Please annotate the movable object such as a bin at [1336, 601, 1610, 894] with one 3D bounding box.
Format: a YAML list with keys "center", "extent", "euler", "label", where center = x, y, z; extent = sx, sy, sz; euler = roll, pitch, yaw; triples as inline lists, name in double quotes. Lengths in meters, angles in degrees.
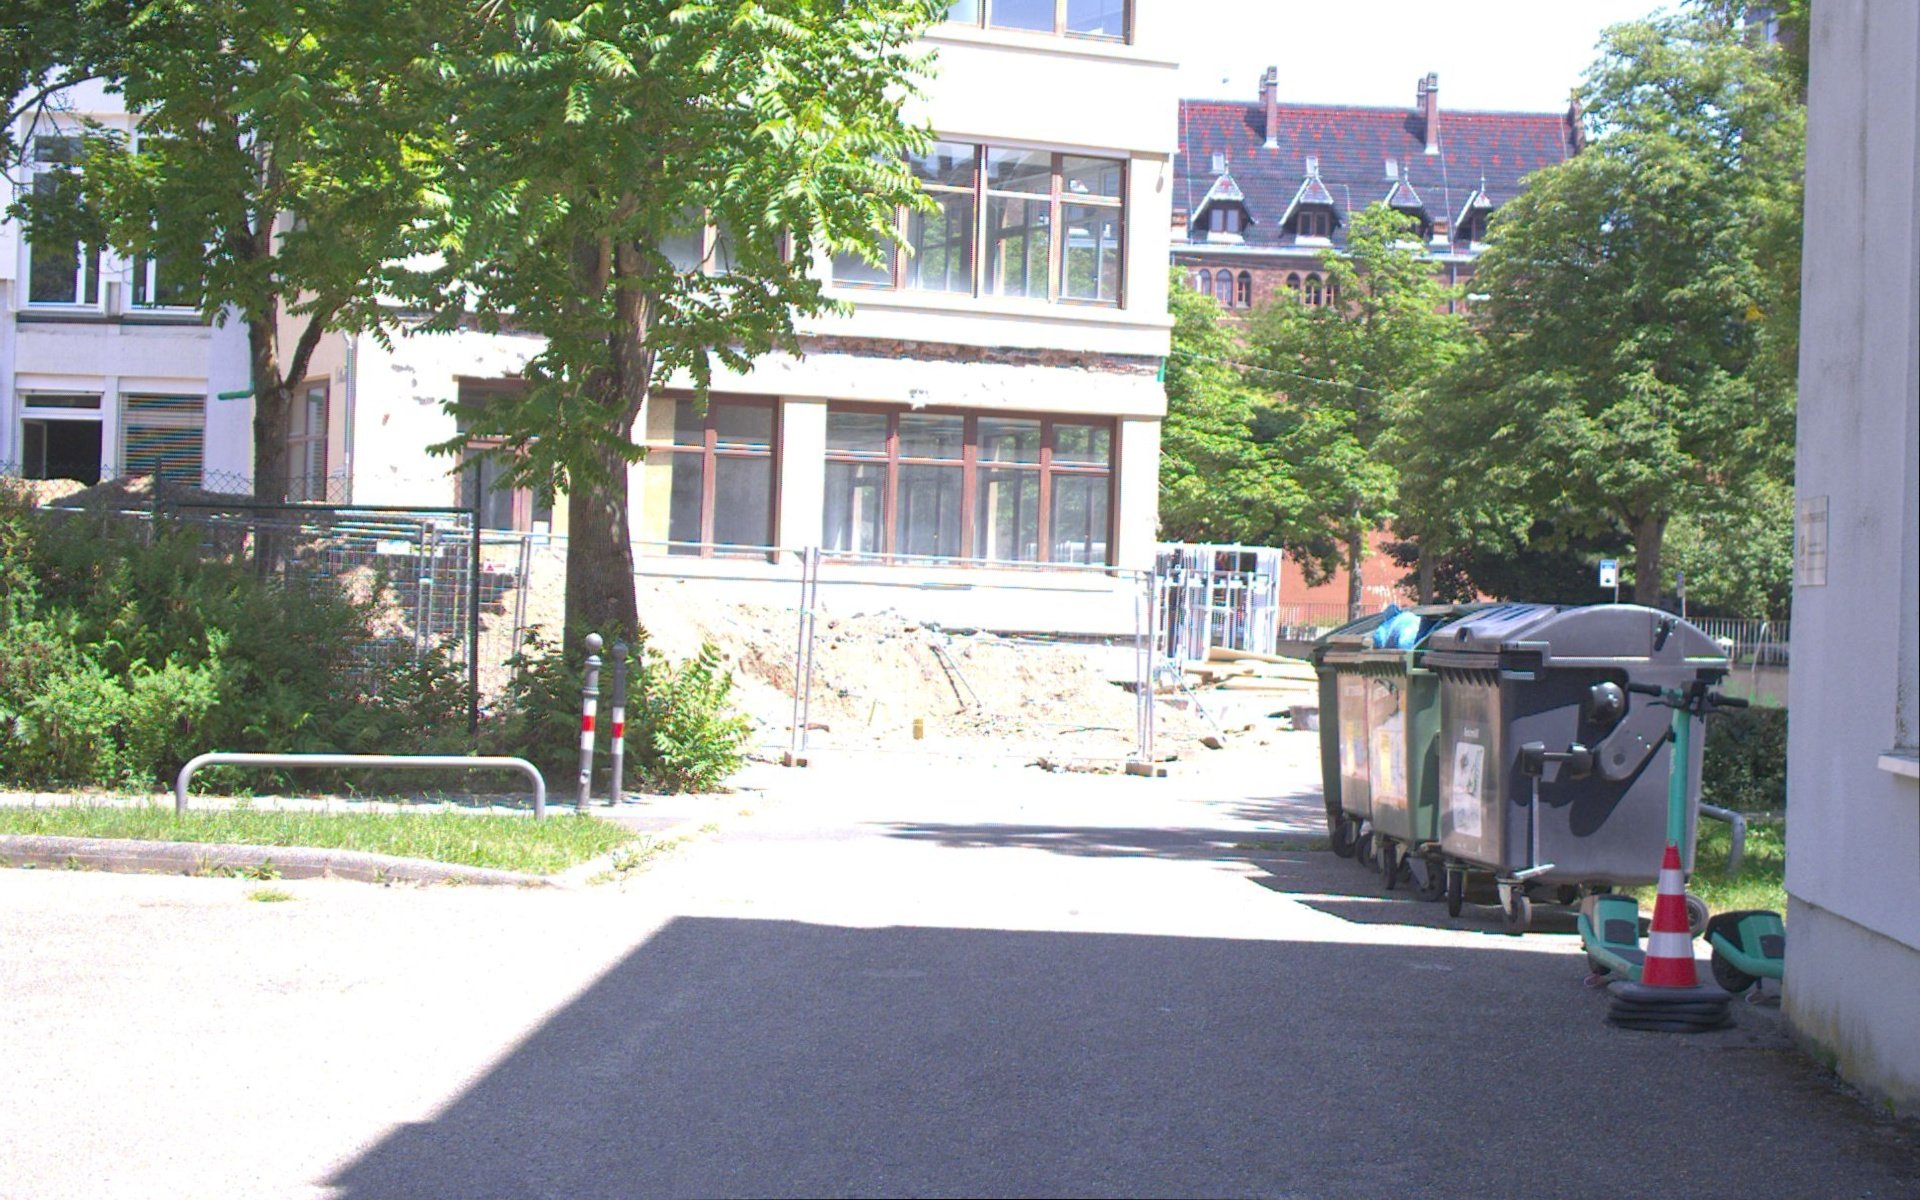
- center: [2.724, 0.774, 18.421]
  extent: [1.179, 1.465, 1.311]
  euler: [2, -1, -2]
  label: "movable object such as a bin"

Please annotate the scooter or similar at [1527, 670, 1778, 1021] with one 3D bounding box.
- center: [2.489, 0.858, 12.476]
  extent: [0.463, 1.170, 1.357]
  euler: [2, -1, -6]
  label: "scooter or similar"

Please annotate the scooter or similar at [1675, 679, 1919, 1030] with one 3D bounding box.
- center: [3.098, 0.890, 12.403]
  extent: [0.463, 1.170, 1.256]
  euler: [2, -1, -15]
  label: "scooter or similar"

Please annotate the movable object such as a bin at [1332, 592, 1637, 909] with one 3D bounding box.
- center: [2.575, 0.728, 17.043]
  extent: [1.179, 1.465, 1.311]
  euler: [2, -1, -4]
  label: "movable object such as a bin"

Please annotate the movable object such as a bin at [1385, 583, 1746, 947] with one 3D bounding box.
- center: [2.663, 0.712, 15.303]
  extent: [1.155, 1.500, 1.463]
  euler: [3, -1, -7]
  label: "movable object such as a bin"

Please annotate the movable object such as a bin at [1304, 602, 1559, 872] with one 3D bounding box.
- center: [2.701, 0.777, 19.865]
  extent: [1.179, 1.465, 1.311]
  euler: [2, -1, -3]
  label: "movable object such as a bin"

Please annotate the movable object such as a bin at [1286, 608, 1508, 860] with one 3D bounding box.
- center: [2.737, 0.821, 21.404]
  extent: [1.179, 1.465, 1.332]
  euler: [2, -1, 13]
  label: "movable object such as a bin"
